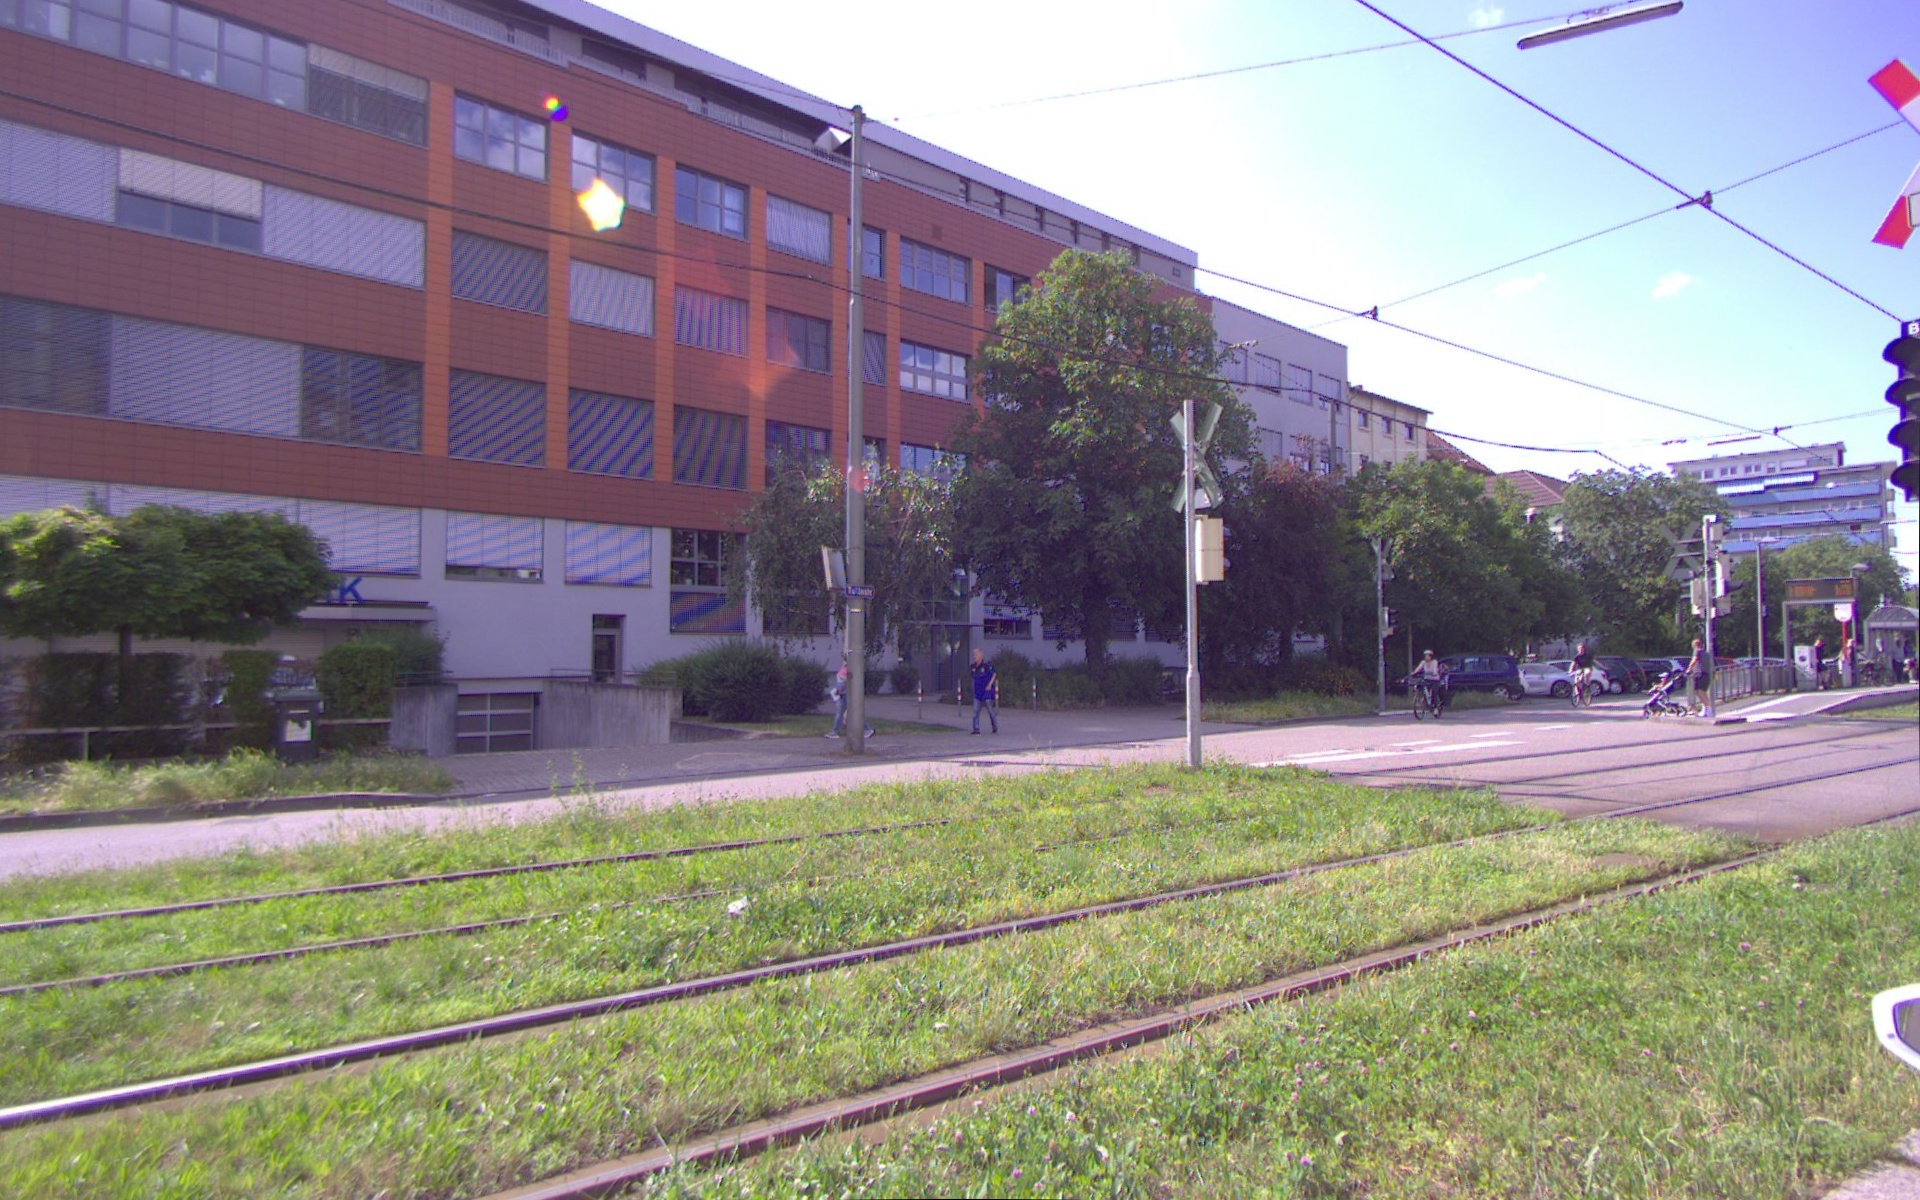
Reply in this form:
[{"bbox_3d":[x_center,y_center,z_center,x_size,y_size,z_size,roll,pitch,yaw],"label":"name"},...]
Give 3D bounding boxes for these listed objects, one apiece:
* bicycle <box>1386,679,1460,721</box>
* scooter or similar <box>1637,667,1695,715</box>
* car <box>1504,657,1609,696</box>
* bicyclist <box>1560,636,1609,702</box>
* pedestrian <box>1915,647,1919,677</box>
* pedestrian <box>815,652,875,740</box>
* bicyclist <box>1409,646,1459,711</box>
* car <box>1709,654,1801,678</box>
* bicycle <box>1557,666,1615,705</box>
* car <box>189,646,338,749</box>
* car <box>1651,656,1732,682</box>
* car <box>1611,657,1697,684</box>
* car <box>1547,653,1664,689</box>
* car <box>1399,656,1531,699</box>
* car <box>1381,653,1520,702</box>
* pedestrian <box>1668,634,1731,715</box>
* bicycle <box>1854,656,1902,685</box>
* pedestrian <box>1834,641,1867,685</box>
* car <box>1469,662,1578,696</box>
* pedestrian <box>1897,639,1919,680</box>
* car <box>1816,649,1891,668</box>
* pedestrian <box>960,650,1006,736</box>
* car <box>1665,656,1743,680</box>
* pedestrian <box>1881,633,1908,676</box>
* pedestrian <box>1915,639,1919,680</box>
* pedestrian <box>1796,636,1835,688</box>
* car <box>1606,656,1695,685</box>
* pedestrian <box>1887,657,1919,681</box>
[{"bbox_3d":[11.681,2.495,25.320,2.157,0.983,0.676,2,-4,-35],"label":"bicycle"},{"bbox_3d":[16.235,2.088,23.100,0.944,1.078,0.792,-6,-6,43],"label":"scooter or similar"},{"bbox_3d":[24.160,3.113,40.808,3.320,1.524,1.546,-1,-3,14],"label":"car"},{"bbox_3d":[19.824,2.180,31.883,0.938,2.040,1.567,-3,-4,44],"label":"bicyclist"},{"bbox_3d":[47.001,3.014,49.013,0.482,1.470,0.461,-4,-5,42],"label":"pedestrian"},{"bbox_3d":[-2.160,1.788,18.841,0.879,1.594,0.742,3,-4,-30],"label":"pedestrian"},{"bbox_3d":[11.984,1.982,25.407,0.855,1.602,0.780,2,-4,-35],"label":"bicyclist"},{"bbox_3d":[47.577,3.956,60.193,3.919,1.385,1.718,-2,-4,11],"label":"car"},{"bbox_3d":[19.863,2.709,31.855,1.143,1.193,1.777,-5,-6,44],"label":"bicycle"},{"bbox_3d":[-12.548,1.674,18.157,1.980,1.616,3.962,2,-4,-35],"label":"car"},{"bbox_3d":[39.391,3.715,54.126,3.181,1.326,1.457,-1,-3,6],"label":"car"},{"bbox_3d":[34.811,3.540,50.437,3.181,1.326,1.457,-1,-3,6],"label":"car"},{"bbox_3d":[28.359,3.130,44.238,3.919,1.475,1.692,-2,-4,12],"label":"car"},{"bbox_3d":[18.636,2.865,37.251,4.049,1.518,1.727,-1,-3,13],"label":"car"},{"bbox_3d":[17.185,2.708,35.378,4.049,1.662,1.727,-1,-3,13],"label":"car"},{"bbox_3d":[16.896,1.704,22.955,0.996,1.798,0.863,2,-6,-41],"label":"pedestrian"},{"bbox_3d":[33.262,2.568,36.401,1.749,0.987,0.683,1,-6,-29],"label":"bicycle"},{"bbox_3d":[32.971,2.337,37.203,0.678,1.589,0.661,1,-5,-30],"label":"pedestrian"},{"bbox_3d":[21.711,3.051,38.827,3.320,1.252,1.546,-1,-3,13],"label":"car"},{"bbox_3d":[41.359,2.598,43.755,0.551,1.758,0.590,2,-4,-34],"label":"pedestrian"},{"bbox_3d":[67.211,4.393,75.596,3.919,1.403,1.641,-1,-3,7],"label":"car"},{"bbox_3d":[0.450,1.840,20.054,0.738,1.678,0.554,2,-4,-30],"label":"pedestrian"},{"bbox_3d":[41.658,3.821,56.276,3.181,1.326,1.457,-1,-3,6],"label":"car"},{"bbox_3d":[38.186,2.238,41.043,0.650,1.714,0.650,2,-4,-38],"label":"pedestrian"},{"bbox_3d":[42.392,2.617,44.005,0.631,1.789,0.602,1,-3,-29],"label":"pedestrian"},{"bbox_3d":[28.967,2.097,34.016,0.654,1.748,0.715,-1,-3,4],"label":"pedestrian"},{"bbox_3d":[33.141,3.375,48.273,3.181,1.326,1.457,-1,-3,3],"label":"car"},{"bbox_3d":[39.477,2.882,41.944,0.789,1.001,0.919,2,-5,-36],"label":"pedestrian"}]
